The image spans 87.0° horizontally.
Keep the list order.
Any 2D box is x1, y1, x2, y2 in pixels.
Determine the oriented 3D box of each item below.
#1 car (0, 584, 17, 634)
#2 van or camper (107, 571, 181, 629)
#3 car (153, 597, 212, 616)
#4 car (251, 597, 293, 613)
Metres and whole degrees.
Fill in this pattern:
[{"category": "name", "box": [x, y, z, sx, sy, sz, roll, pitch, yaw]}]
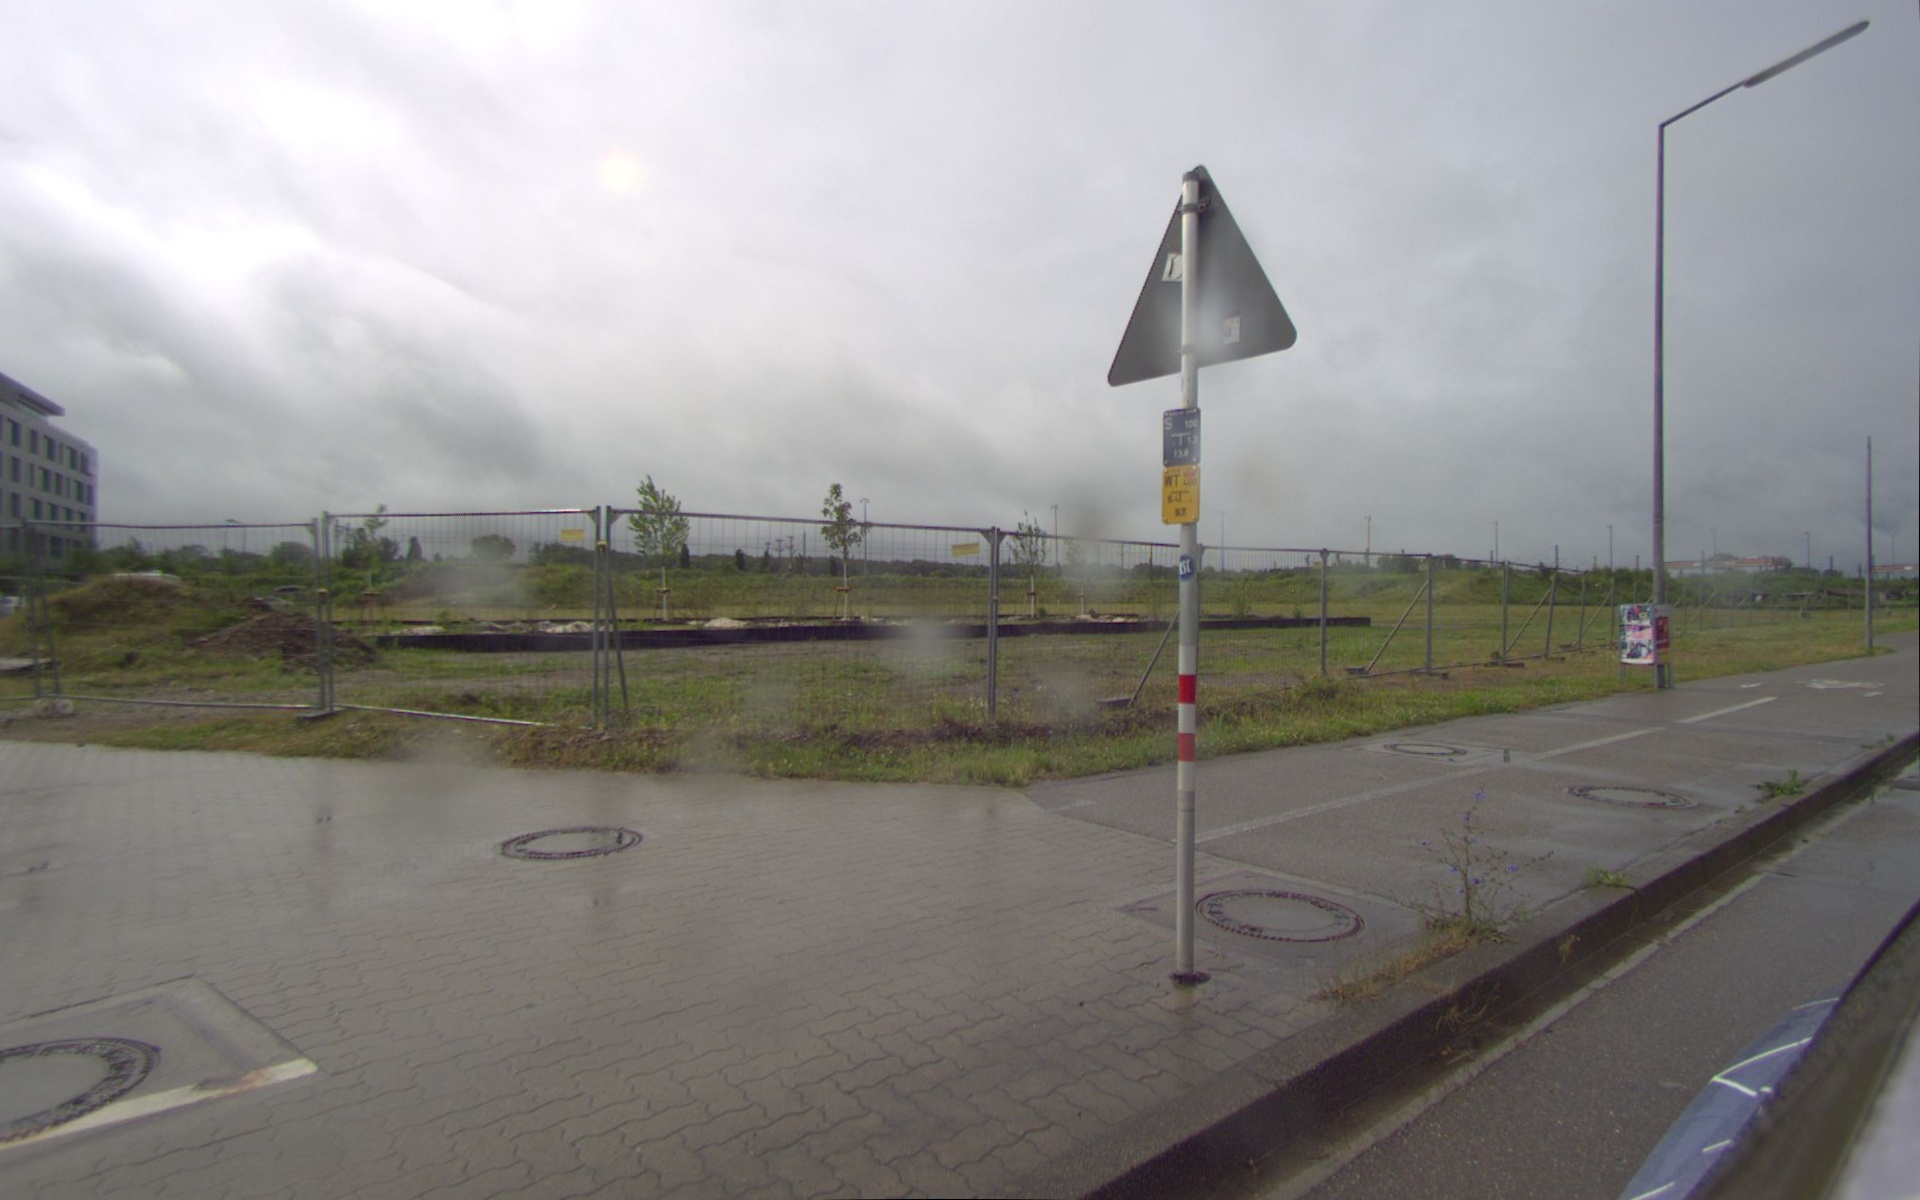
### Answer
[{"category": "car", "box": [-37.023, 0.260, 37.490, 1.960, 1.796, 4.339, 0, -5, -28]}, {"category": "van or camper", "box": [-51.734, 0.068, 64.326, 2.479, 3.243, 6.804, 0, -3, -29]}, {"category": "car", "box": [-75.844, 0.612, 98.802, 4.280, 1.710, 1.801, -1, -3, -27]}, {"category": "car", "box": [-78.550, 0.580, 115.484, 3.925, 1.750, 1.999, 0, 0, -36]}]
